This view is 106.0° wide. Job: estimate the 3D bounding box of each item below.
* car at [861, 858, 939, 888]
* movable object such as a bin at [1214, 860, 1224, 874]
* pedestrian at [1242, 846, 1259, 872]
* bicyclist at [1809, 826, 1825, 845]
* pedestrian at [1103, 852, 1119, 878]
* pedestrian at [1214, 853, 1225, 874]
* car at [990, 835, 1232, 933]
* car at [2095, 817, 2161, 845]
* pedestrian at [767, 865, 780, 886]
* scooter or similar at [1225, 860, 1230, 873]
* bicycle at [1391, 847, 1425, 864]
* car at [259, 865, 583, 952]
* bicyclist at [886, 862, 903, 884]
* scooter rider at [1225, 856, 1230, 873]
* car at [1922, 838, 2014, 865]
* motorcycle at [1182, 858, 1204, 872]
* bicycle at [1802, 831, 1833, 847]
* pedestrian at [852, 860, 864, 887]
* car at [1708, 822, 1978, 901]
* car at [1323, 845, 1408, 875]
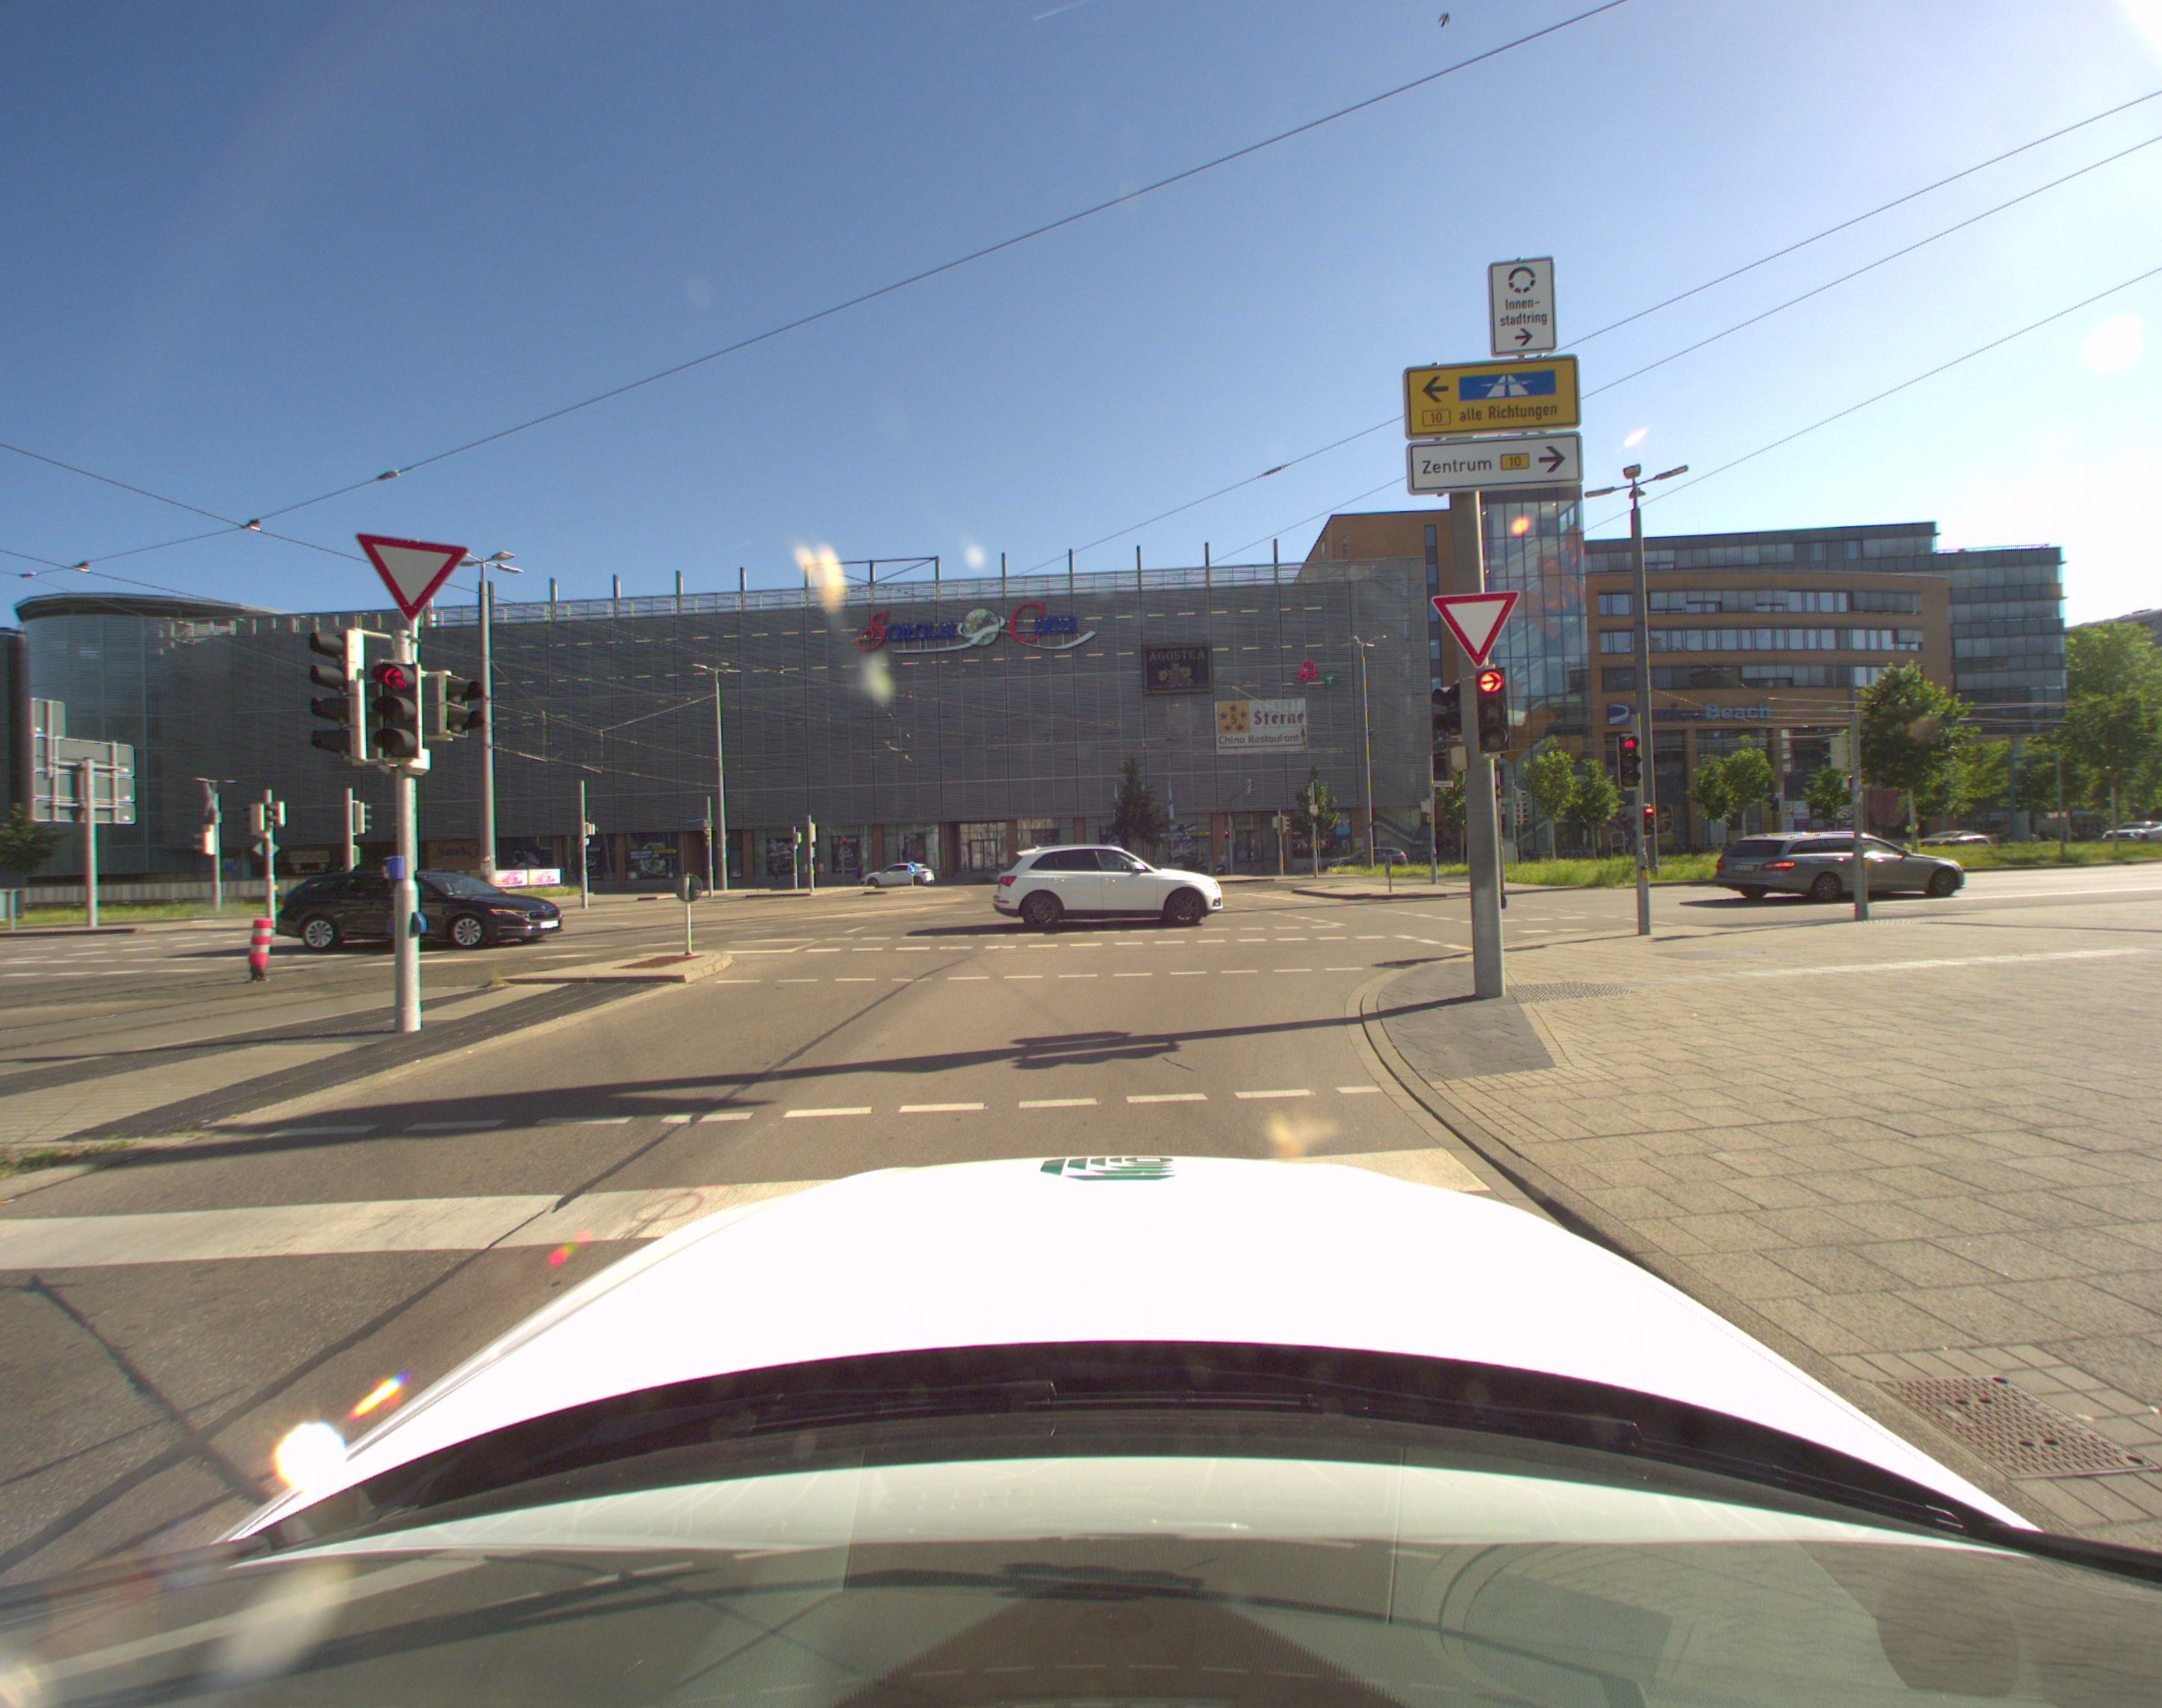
[{"bbox_3d":[-10.999,1.169,49.616,4.274,1.645,1.841,2,-1,1],"label":"car"},{"bbox_3d":[9.272,0.880,54.735,0.608,0.904,0.972,-1,-1,12],"label":"movable object such as a bin"},{"bbox_3d":[12.337,0.328,59.196,1.007,1.828,1.037,-3,0,5],"label":"pedestrian"},{"bbox_3d":[56.722,-1.415,62.773,0.750,1.386,0.566,-2,1,1],"label":"bicyclist"},{"bbox_3d":[2.210,0.806,59.826,0.945,1.829,0.847,-3,-4,7],"label":"pedestrian"},{"bbox_3d":[9.405,0.630,55.198,0.650,1.414,0.853,-1,-1,12],"label":"pedestrian"},{"bbox_3d":[0.529,0.568,16.642,4.662,1.707,1.933,-2,0,-6],"label":"car"},{"bbox_3d":[74.251,-1.598,57.161,4.321,1.863,1.837,-1,-1,-7],"label":"car"},{"bbox_3d":[-23.695,1.630,62.746,0.654,1.601,0.597,-1,-1,20],"label":"pedestrian"},{"bbox_3d":[9.920,0.868,55.003,0.293,0.873,1.007,-1,-1,12],"label":"scooter or similar"},{"bbox_3d":[24.343,0.110,60.615,2.247,1.296,0.606,0,-1,0],"label":"bicycle"},{"bbox_3d":[-12.458,0.996,15.598,4.653,1.462,1.833,-1,0,0],"label":"car"},{"bbox_3d":[-12.628,1.274,55.234,0.667,1.427,0.855,-1,2,45],"label":"bicyclist"},{"bbox_3d":[9.908,0.704,54.945,0.286,1.200,0.387,-1,-1,12],"label":"scooter rider"},{"bbox_3d":[57.030,-0.137,52.394,4.284,1.584,1.836,2,-1,-7],"label":"car"},{"bbox_3d":[8.313,0.830,60.592,1.630,1.004,0.448,0,0,8],"label":"motorcycle"},{"bbox_3d":[56.783,-1.160,62.792,1.850,1.217,0.569,-2,1,1],"label":"bicycle"},{"bbox_3d":[-15.202,1.311,55.458,0.695,1.797,0.727,-3,0,-14],"label":"pedestrian"},{"bbox_3d":[17.060,0.149,18.330,4.850,1.572,1.703,-2,0,-7],"label":"car"},{"bbox_3d":[15.883,0.347,45.616,4.132,1.470,1.841,2,-1,0],"label":"car"}]
